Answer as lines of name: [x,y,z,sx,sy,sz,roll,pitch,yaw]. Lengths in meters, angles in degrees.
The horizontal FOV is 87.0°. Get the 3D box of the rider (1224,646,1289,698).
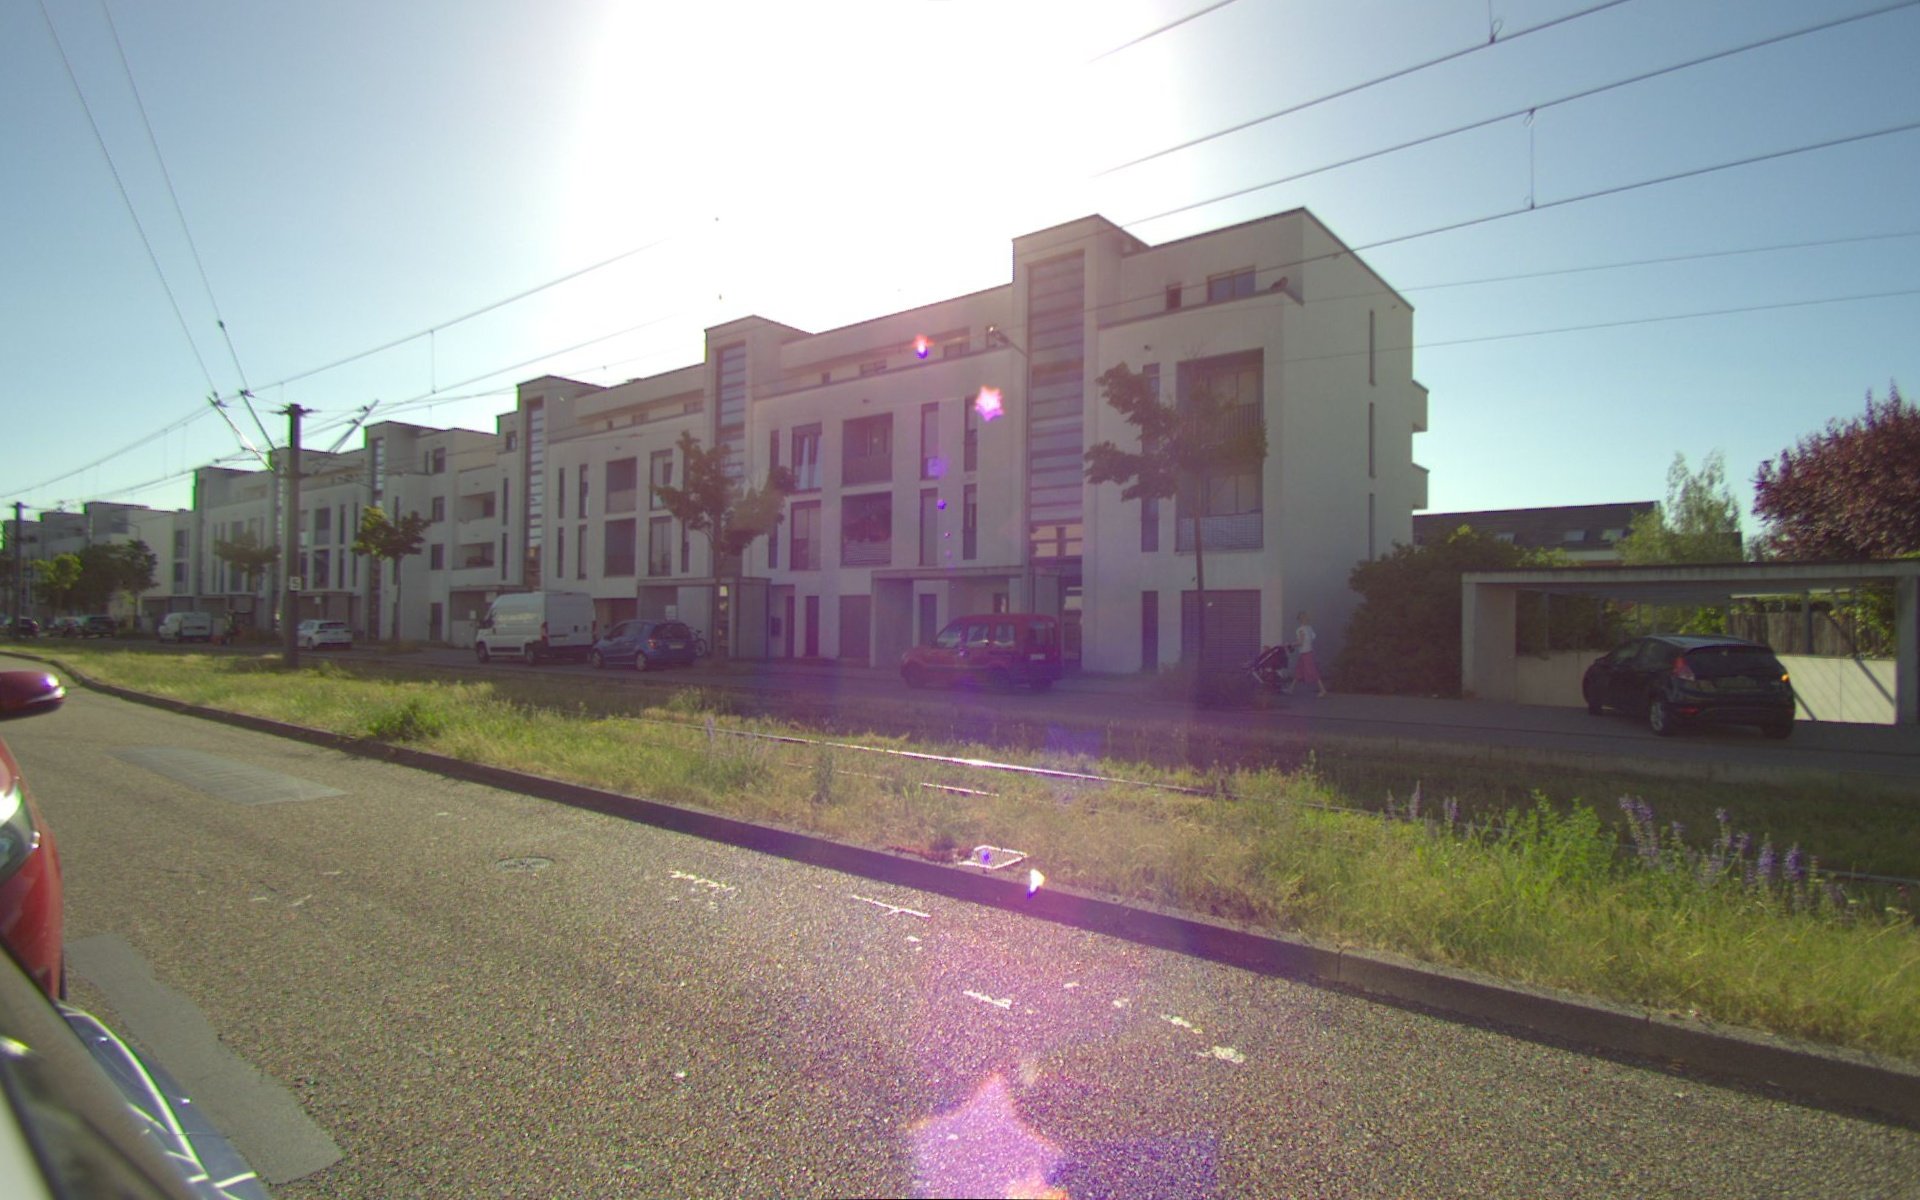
rider: [6.177,1.486,21.118,0.769,1.010,1.046,0,-1,-44]

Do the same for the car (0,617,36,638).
car: [-67.958,1.969,72.781,3.999,1.429,1.769,-1,-4,42]

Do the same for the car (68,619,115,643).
car: [-63.037,2.239,73.405,4.149,1.611,1.745,-1,-1,37]

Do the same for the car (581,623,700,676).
car: [-10.043,1.503,31.683,3.840,1.548,1.805,-1,-1,41]

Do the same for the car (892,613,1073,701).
car: [0.457,1.215,22.991,3.836,1.809,1.861,-1,-1,42]

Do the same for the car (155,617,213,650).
car: [-47.251,2.020,61.615,4.149,1.884,1.745,-1,-1,37]

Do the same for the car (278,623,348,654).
car: [-31.248,1.845,48.865,4.149,1.443,1.503,-1,-1,37]

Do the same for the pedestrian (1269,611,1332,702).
pedestrian: [6.856,1.119,20.392,0.806,1.761,0.910,0,-1,-44]

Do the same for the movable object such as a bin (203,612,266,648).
movable object such as a bin: [-41.287,1.714,57.591,4.149,1.952,1.745,-1,-1,37]

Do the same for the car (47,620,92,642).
car: [-67.557,2.343,76.777,4.149,1.611,1.745,-1,-1,37]

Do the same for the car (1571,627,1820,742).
car: [11.187,1.191,15.723,1.691,1.441,3.726,1,0,12]

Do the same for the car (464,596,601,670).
car: [-15.296,1.139,36.060,5.583,2.463,2.119,-1,-1,39]

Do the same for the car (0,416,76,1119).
car: [-5.145,0.514,3.928,5.203,1.948,1.954,-1,0,42]
